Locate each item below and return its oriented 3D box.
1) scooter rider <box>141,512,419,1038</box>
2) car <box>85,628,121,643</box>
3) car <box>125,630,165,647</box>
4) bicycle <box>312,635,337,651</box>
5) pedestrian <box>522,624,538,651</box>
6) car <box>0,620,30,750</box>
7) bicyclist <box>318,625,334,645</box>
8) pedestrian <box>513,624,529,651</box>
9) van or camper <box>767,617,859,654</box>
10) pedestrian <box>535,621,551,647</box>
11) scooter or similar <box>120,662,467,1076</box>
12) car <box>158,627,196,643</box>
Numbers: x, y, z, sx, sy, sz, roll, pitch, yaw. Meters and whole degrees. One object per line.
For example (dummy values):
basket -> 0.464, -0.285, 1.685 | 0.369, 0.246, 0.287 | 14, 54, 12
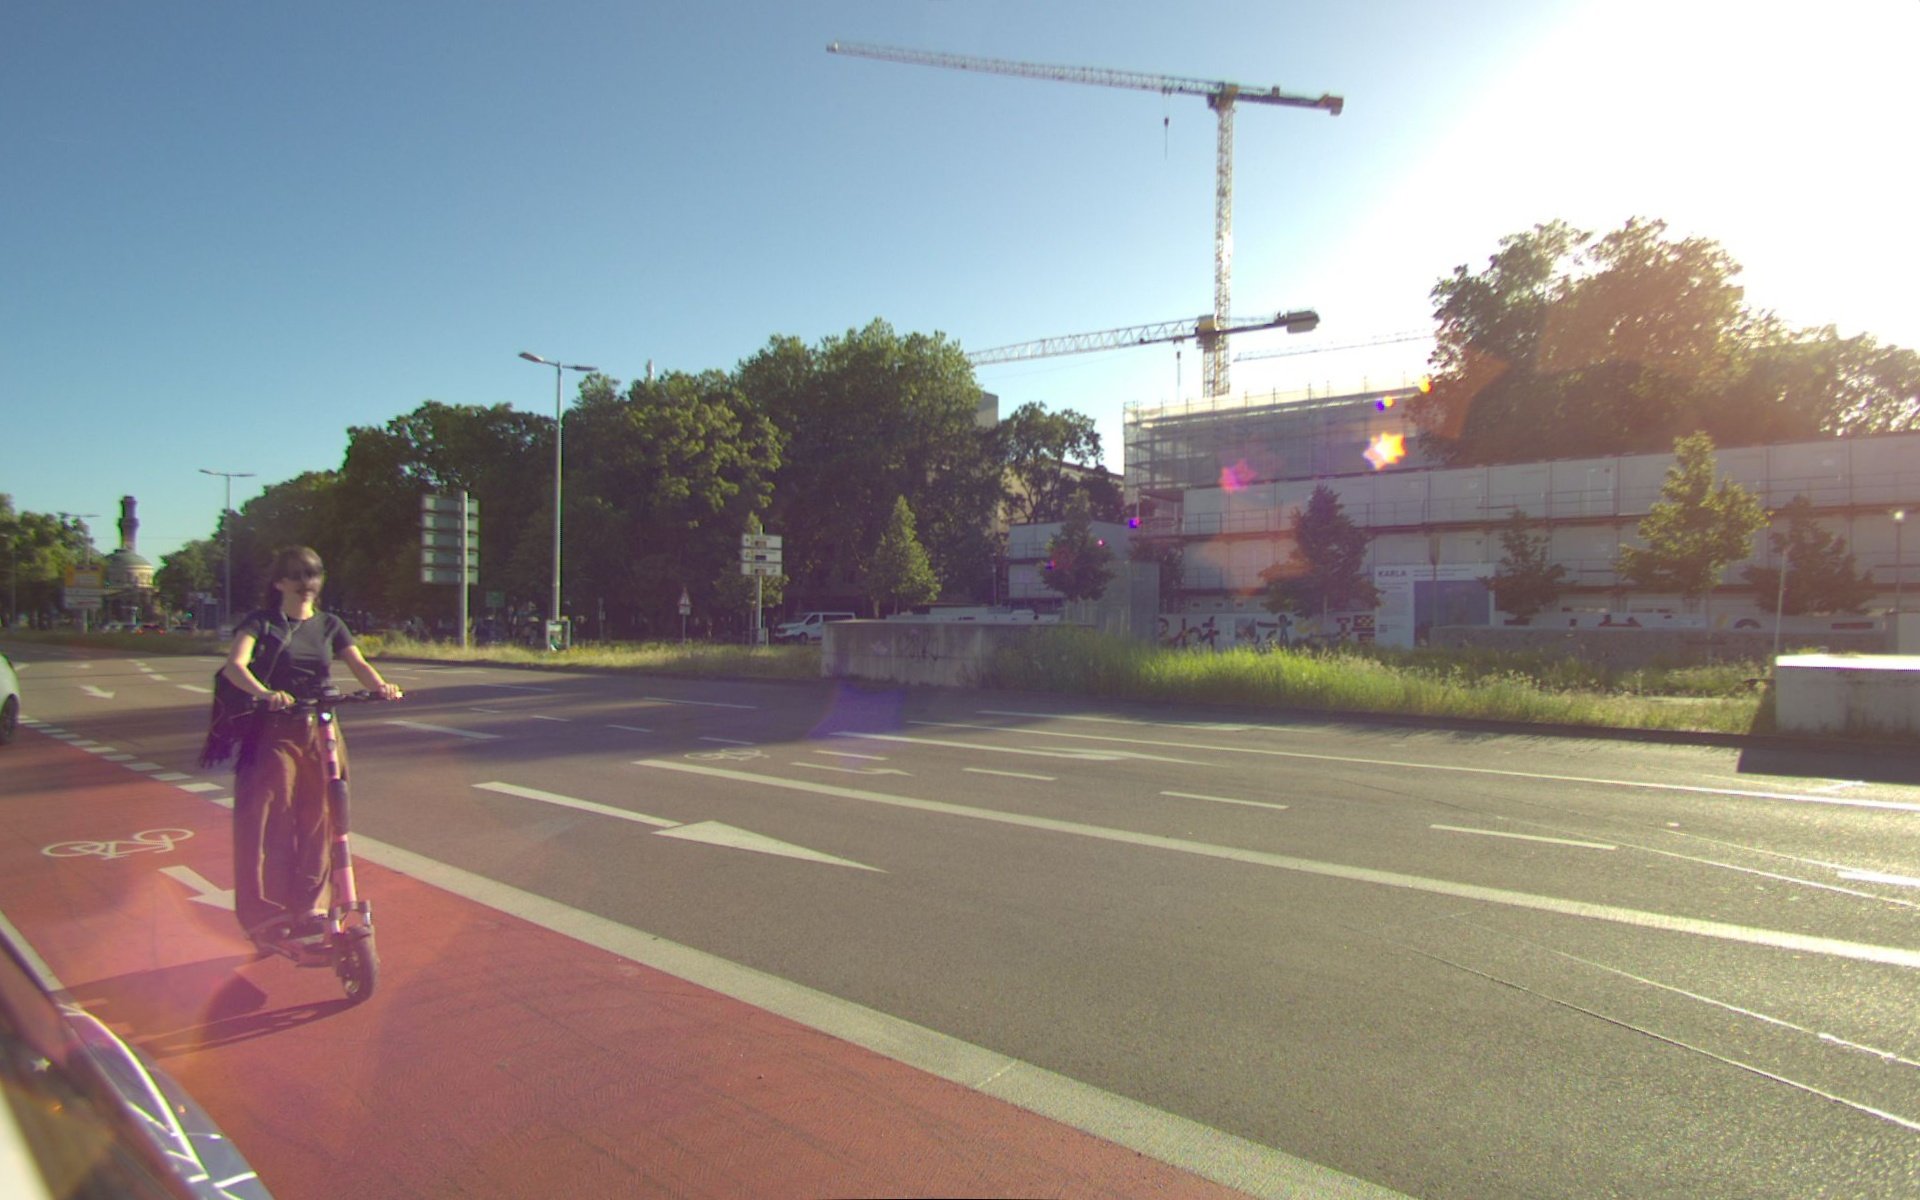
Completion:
scooter rider -> -2.678, 0.601, 3.991 | 0.811, 1.788, 0.721 | -1, -1, 41
car -> -79.841, 3.280, 94.244 | 3.995, 1.409, 1.849 | -1, -2, 39
car -> -69.778, 3.301, 86.623 | 3.996, 1.409, 1.849 | -1, -2, 40
bicycle -> -42.191, 2.876, 67.136 | 2.239, 1.030, 0.631 | -1, -2, 36
pedestrian -> -28.056, 2.417, 66.065 | 0.762, 1.738, 0.656 | -2, -2, 41
car -> -11.093, 0.955, 10.004 | 1.651, 1.460, 3.902 | -1, 0, -24
bicyclist -> -41.985, 2.312, 66.998 | 0.884, 1.292, 0.631 | -1, -2, 36
pedestrian -> -28.306, 2.420, 65.227 | 0.762, 1.738, 0.698 | -1, -2, 41
van or camper -> -8.928, 2.139, 61.939 | 1.948, 2.029, 5.576 | -1, 0, 42
pedestrian -> -27.454, 2.240, 66.669 | 0.762, 1.738, 0.698 | -1, -2, 41
scooter or similar -> -2.656, 0.884, 3.965 | 1.664, 1.211, 0.721 | -1, -1, 41
car -> -76.094, 3.392, 98.360 | 3.993, 1.519, 1.975 | -1, -2, 37
